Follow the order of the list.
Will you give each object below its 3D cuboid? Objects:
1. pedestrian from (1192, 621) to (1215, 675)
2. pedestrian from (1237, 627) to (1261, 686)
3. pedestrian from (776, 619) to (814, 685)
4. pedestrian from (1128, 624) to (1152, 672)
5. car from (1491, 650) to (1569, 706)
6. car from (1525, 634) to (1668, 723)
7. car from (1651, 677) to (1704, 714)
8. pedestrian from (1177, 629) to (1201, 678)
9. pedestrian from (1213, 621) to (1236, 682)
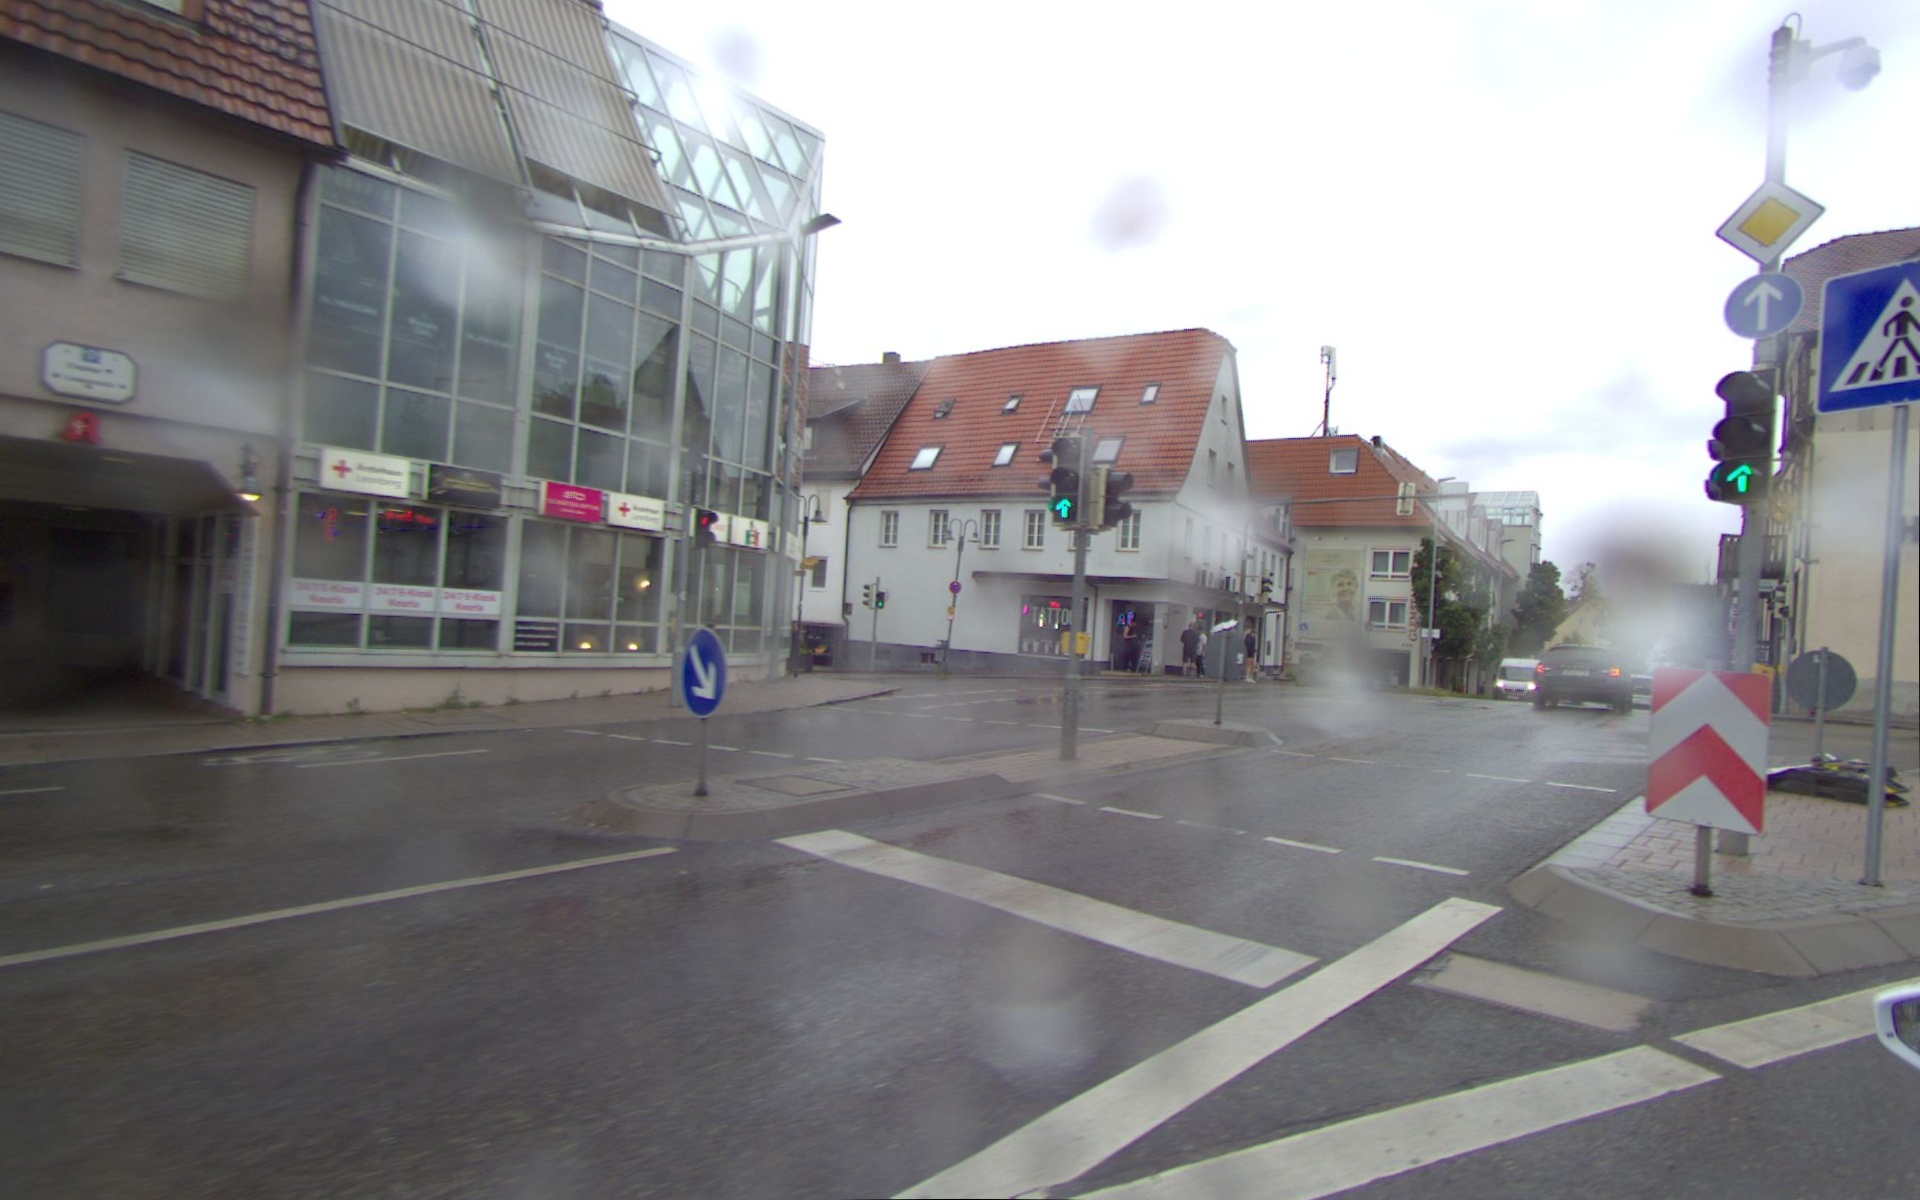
[{"bbox_3d":[8.327,1.622,34.294,0.584,1.797,0.633,0,-1,31],"label":"pedestrian"},{"bbox_3d":[9.585,1.862,33.300,0.594,1.892,0.746,0,-1,31],"label":"pedestrian"},{"bbox_3d":[-5.031,1.556,30.540,0.970,1.964,0.780,1,0,-23],"label":"pedestrian"},{"bbox_3d":[6.038,1.589,33.705,0.584,1.580,0.633,0,-1,31],"label":"pedestrian"},{"bbox_3d":[30.090,4.026,52.915,2.556,2.661,6.529,-1,-2,39],"label":"car"},{"bbox_3d":[14.849,1.718,23.339,1.924,1.588,4.389,3,3,44],"label":"car"},{"bbox_3d":[37.020,4.890,51.800,1.865,1.487,3.980,0,0,41],"label":"car"},{"bbox_3d":[7.515,1.737,32.921,0.584,1.580,0.633,0,-1,31],"label":"pedestrian"},{"bbox_3d":[8.361,1.611,31.689,0.527,1.896,0.633,0,-1,31],"label":"pedestrian"}]
